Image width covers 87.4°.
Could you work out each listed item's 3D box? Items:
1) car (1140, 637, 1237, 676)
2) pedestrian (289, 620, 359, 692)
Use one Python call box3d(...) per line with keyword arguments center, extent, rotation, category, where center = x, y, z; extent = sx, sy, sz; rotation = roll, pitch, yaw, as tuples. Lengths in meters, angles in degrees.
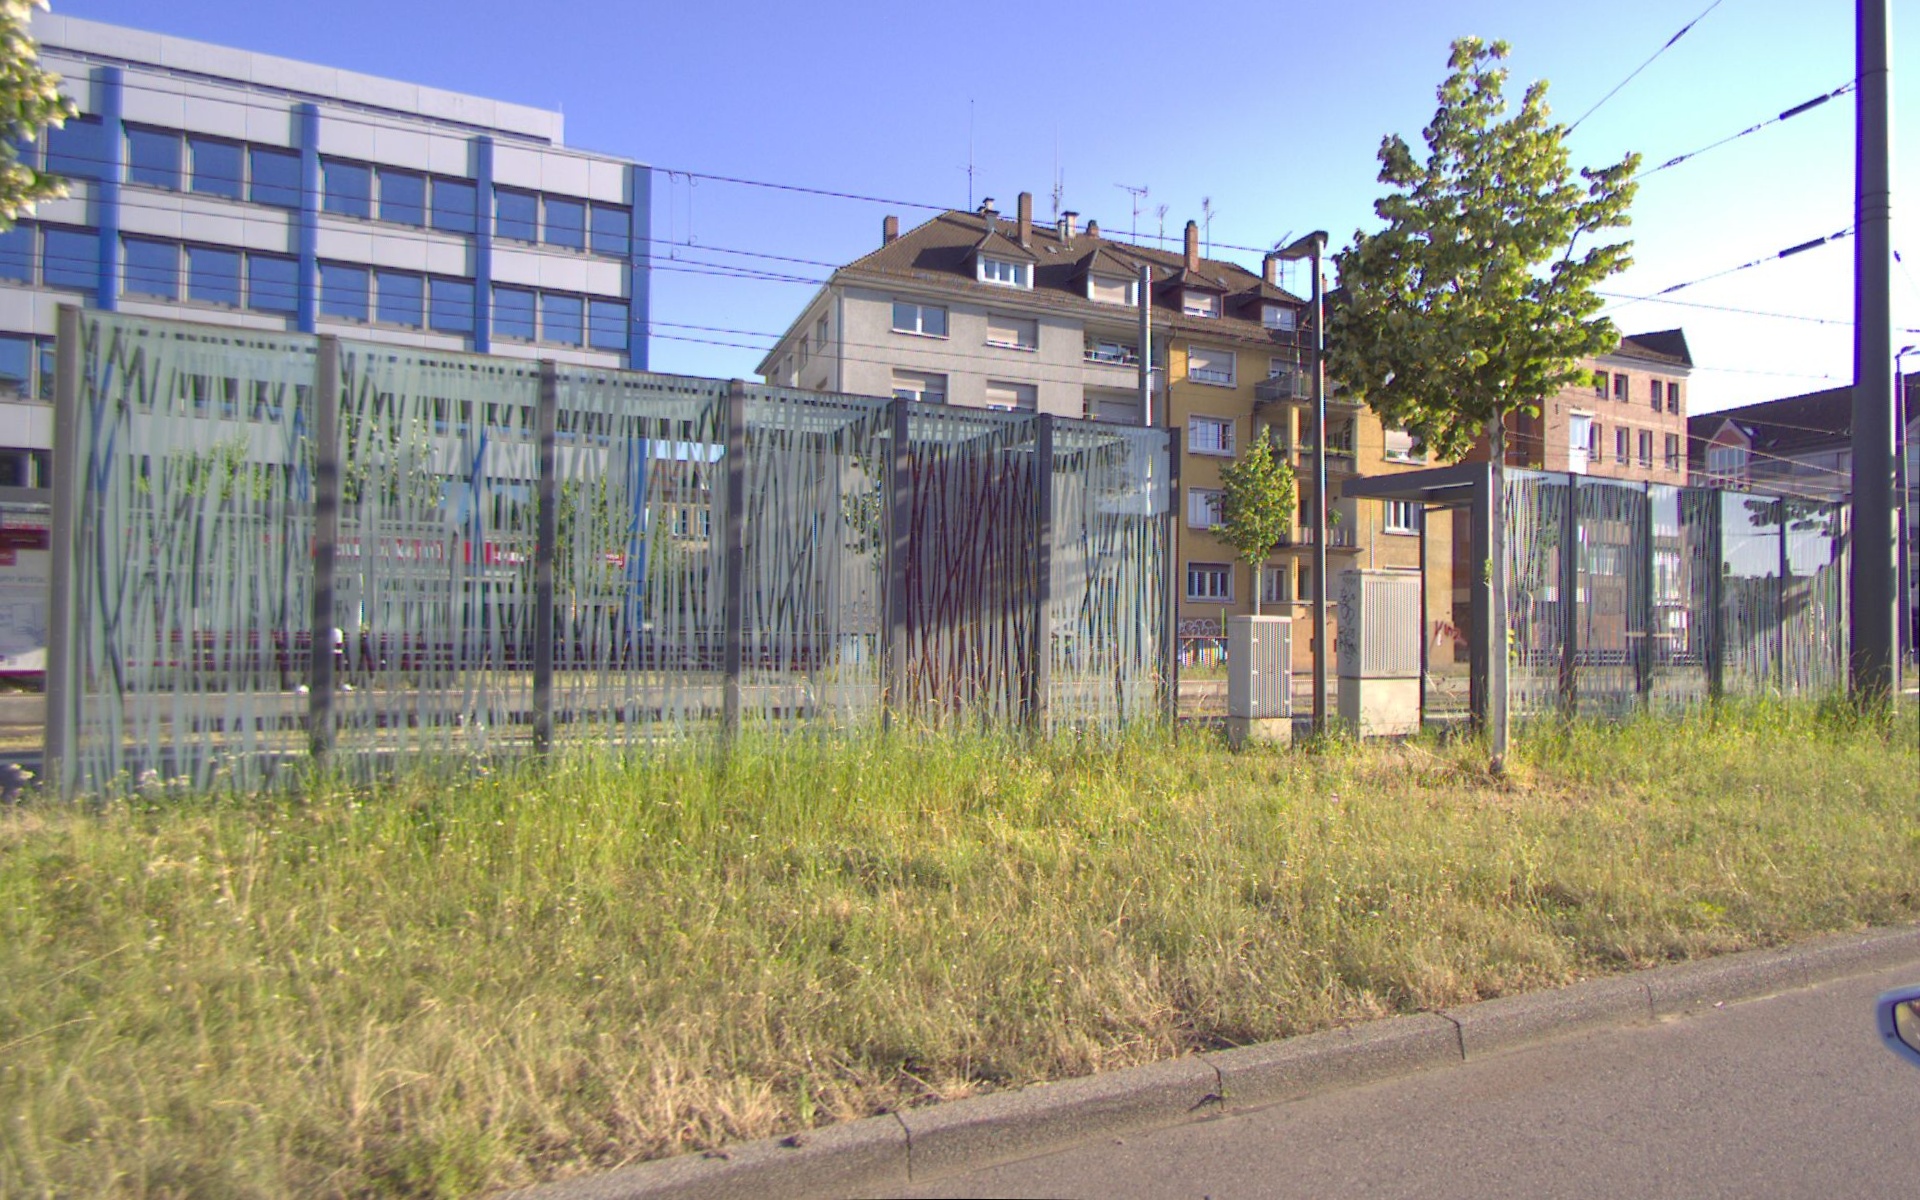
box3d(center=(9.202, 2.256, 40.514), extent=(3.503, 1.505, 1.743), rotation=(1, -2, -24), category="car")
box3d(center=(-9.681, 0.847, 15.320), extent=(0.783, 1.061, 0.626), rotation=(1, -2, -23), category="pedestrian")
